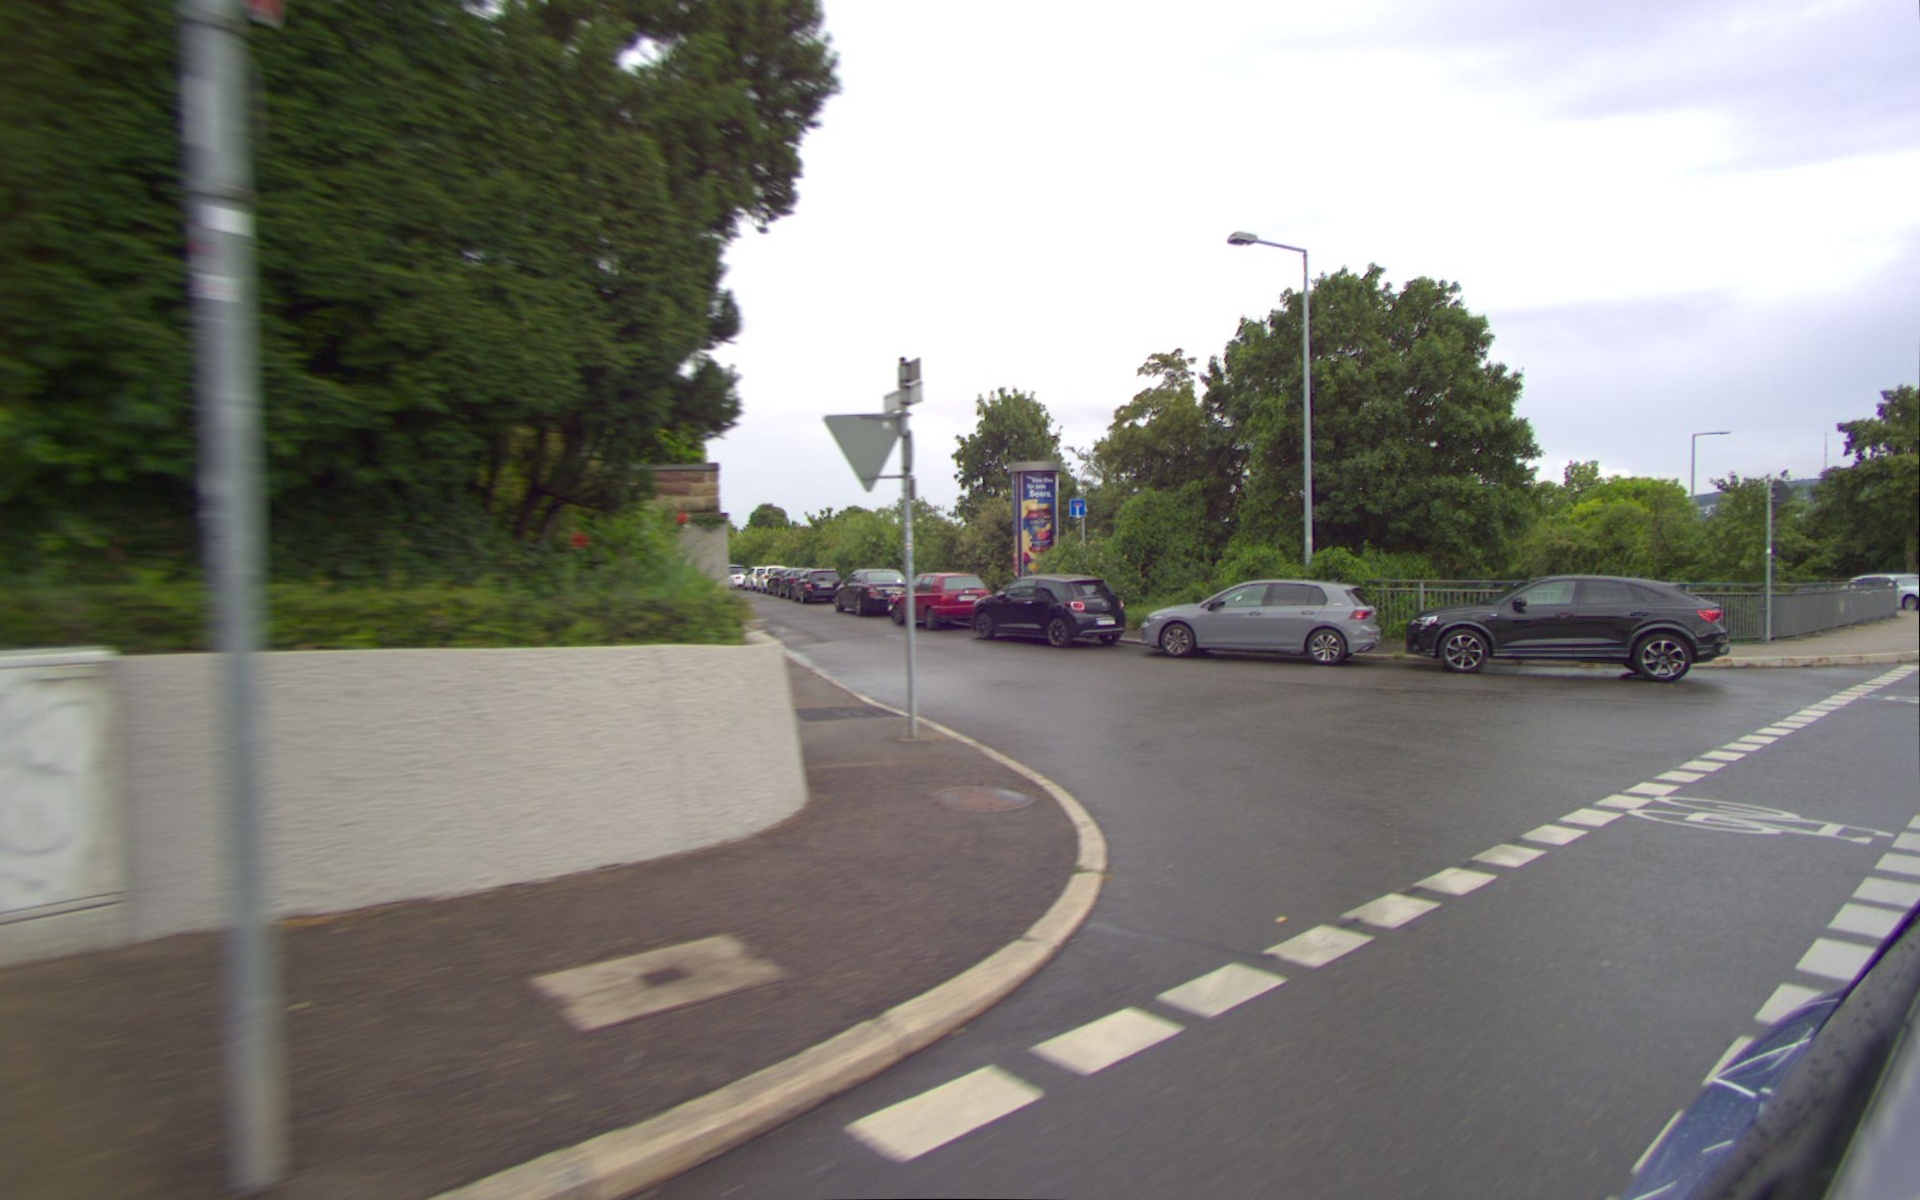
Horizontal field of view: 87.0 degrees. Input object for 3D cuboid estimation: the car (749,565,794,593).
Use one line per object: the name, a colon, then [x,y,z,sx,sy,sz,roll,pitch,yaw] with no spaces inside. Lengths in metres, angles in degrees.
car: [-10.653,-1.162,57.021,1.727,1.507,3.609,0,1,-23]

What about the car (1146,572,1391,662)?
car: [5.592,0.244,18.431,4.020,1.442,1.784,0,2,29]

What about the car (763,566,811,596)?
car: [-9.082,-0.999,52.893,1.727,1.507,3.609,0,1,-23]

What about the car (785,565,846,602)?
car: [-6.114,-0.669,42.576,1.722,1.471,4.008,0,1,-21]

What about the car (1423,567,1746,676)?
car: [9.709,0.277,16.207,4.157,1.542,1.983,0,1,25]

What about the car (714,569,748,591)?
car: [-16.316,-1.442,71.935,1.727,1.507,3.609,0,1,-23]

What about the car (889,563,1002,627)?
car: [-0.443,-0.183,26.576,1.727,1.507,3.610,-2,3,-23]

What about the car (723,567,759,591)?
car: [-14.522,-1.389,66.991,1.727,1.507,3.609,0,1,-23]

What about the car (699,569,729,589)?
car: [-18.978,-1.591,77.937,1.727,1.507,3.609,0,1,-23]

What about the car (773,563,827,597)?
car: [-7.609,-0.948,47.928,1.727,1.507,3.609,0,1,-23]

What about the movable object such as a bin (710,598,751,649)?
movable object such as a bin: [-4.881,0.487,21.505,0.673,1.031,0.530,0,1,-40]

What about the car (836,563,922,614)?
car: [-2.679,-0.427,32.783,1.727,1.507,3.610,-2,3,-23]

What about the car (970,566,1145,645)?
car: [2.016,0.049,21.836,1.807,1.507,3.601,-1,2,-37]

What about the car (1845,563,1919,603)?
car: [39.614,-0.733,41.894,1.854,1.595,4.595,0,2,-1]
